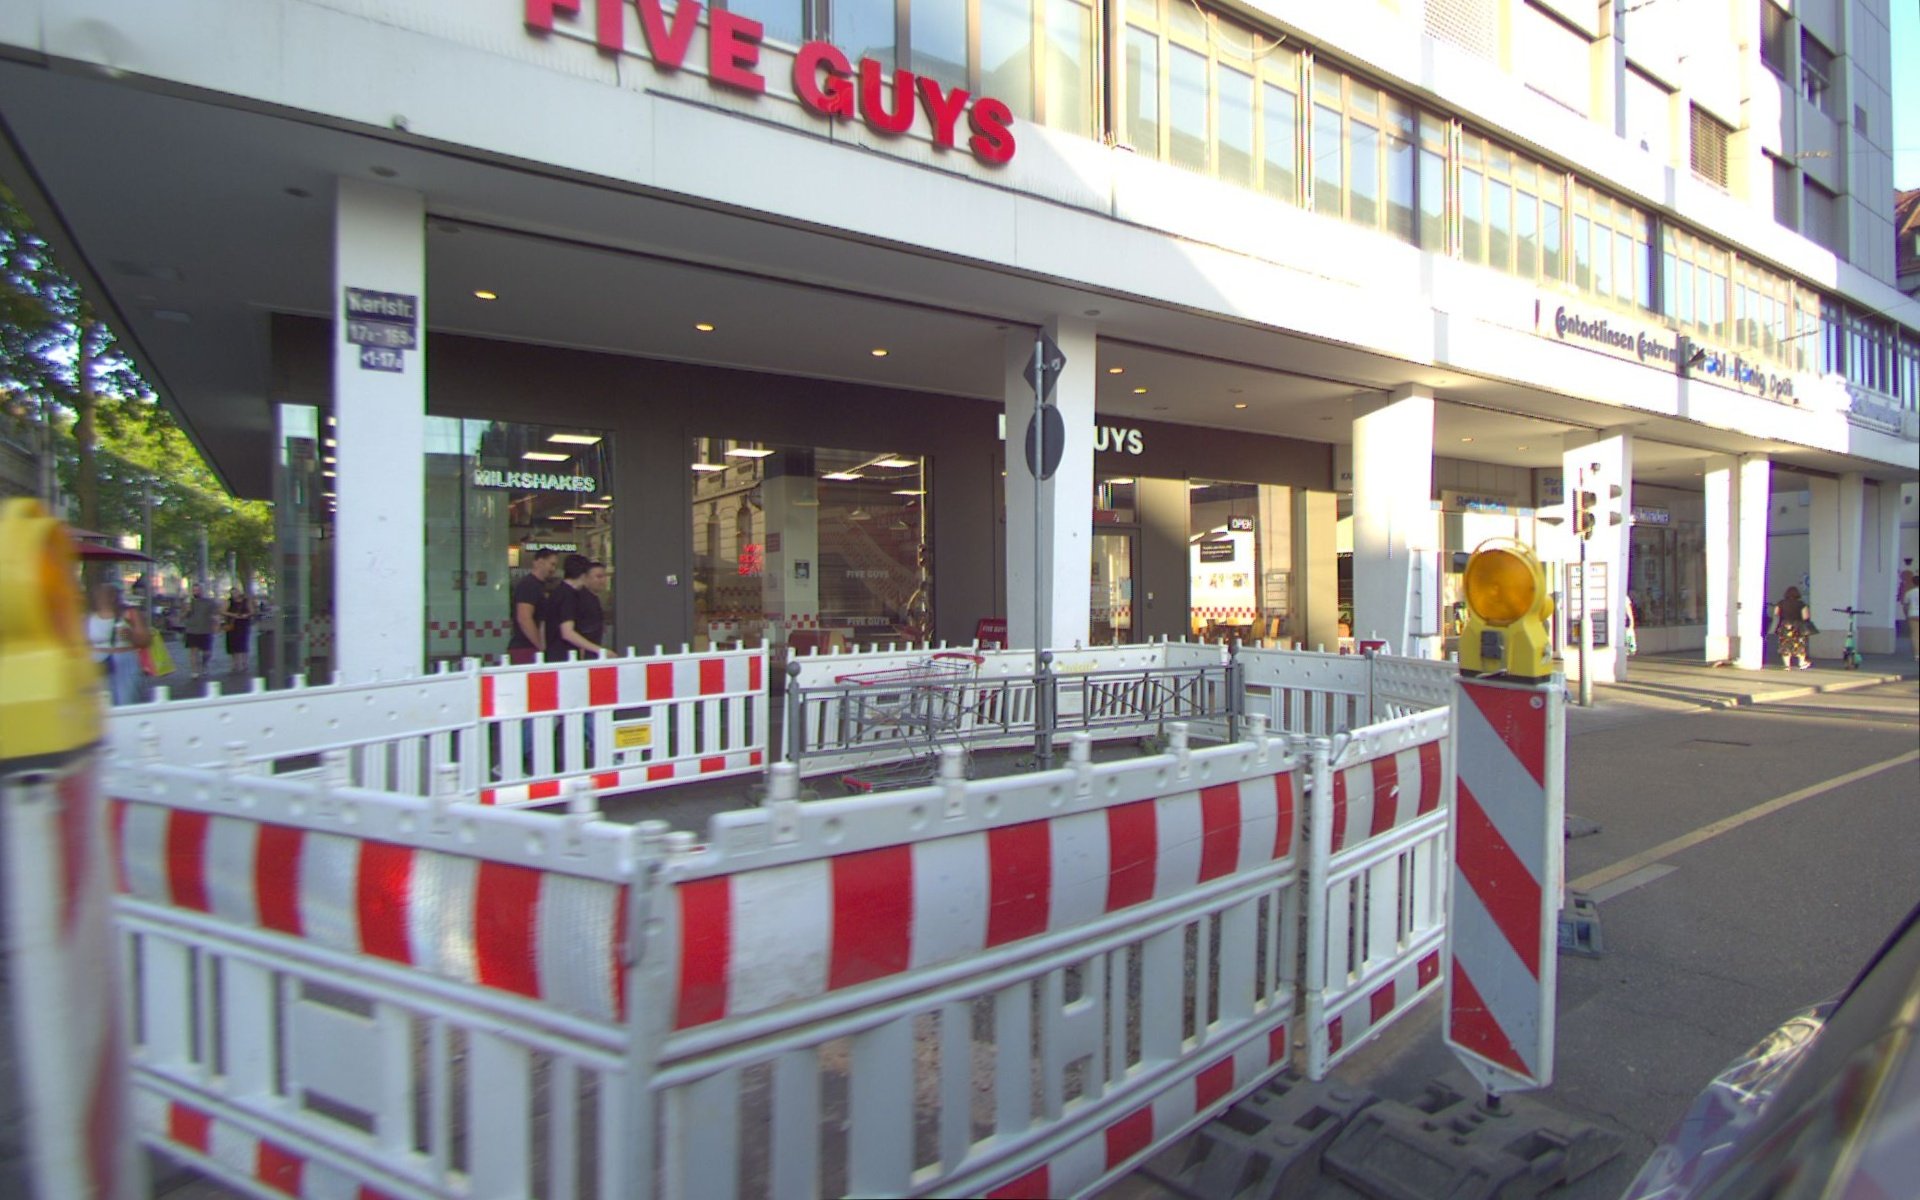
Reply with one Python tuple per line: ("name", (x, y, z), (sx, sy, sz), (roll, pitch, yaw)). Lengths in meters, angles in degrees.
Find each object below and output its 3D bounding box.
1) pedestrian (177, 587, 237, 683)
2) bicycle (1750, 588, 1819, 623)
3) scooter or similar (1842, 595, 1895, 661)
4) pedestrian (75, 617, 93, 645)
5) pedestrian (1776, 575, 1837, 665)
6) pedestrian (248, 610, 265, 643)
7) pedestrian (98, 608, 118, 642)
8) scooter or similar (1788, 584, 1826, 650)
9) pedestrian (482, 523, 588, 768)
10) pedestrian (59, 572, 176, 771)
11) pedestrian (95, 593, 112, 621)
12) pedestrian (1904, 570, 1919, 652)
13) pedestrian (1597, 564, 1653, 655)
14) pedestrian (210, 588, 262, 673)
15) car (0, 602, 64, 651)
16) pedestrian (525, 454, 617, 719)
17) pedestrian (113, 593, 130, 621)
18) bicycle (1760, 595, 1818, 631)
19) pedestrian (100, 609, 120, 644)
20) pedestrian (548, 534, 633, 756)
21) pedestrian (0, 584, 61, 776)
("pedestrian", (-13.925, 0.628, 18.731), (0.825, 1.715, 0.841), (-1, -1, -33))
("bicycle", (29.669, 0.208, 36.433), (1.810, 1.196, 0.772), (-1, -1, -3))
("scooter or similar", (17.800, 0.536, 19.831), (1.157, 1.250, 0.507), (0, 0, -34))
("pedestrian", (-54.538, 1.921, 63.020), (0.745, 1.749, 0.664), (-1, -1, -34))
("pedestrian", (16.419, 0.387, 19.645), (0.692, 1.715, 0.538), (-2, -1, 18))
("pedestrian", (-34.963, 1.325, 50.294), (0.650, 1.631, 0.664), (-1, -1, -34))
("pedestrian", (-40.997, 1.200, 48.718), (0.650, 1.631, 0.664), (-1, -1, -34))
("scooter or similar", (19.755, 0.383, 23.591), (1.289, 1.507, 0.315), (0, 0, -34))
("pedestrian", (-3.703, 0.386, 8.853), (0.509, 2.039, 0.779), (-1, -1, 8))
("pedestrian", (-7.863, 0.630, 9.478), (0.758, 1.757, 0.790), (-1, -1, -34))
("pedestrian", (-53.719, 0.453, 63.495), (0.745, 1.749, 0.664), (-1, -1, -34))
("pedestrian", (21.828, 0.234, 22.661), (0.835, 1.839, 0.702), (0, -1, -27))
("pedestrian", (13.689, 0.189, 20.855), (0.618, 1.839, 0.702), (0, -1, -27))
("pedestrian", (-14.976, 0.615, 20.949), (0.825, 1.715, 0.841), (-1, -1, -33))
("car", (-41.592, 1.166, 45.033), (1.961, 2.039, 4.296), (-1, -1, -33))
("pedestrian", (-3.159, -0.102, 8.200), (0.463, 2.039, 0.706), (0, -1, -41))
("pedestrian", (-53.100, 0.433, 64.117), (0.745, 1.749, 0.664), (-1, -1, -34))
("bicycle", (25.142, 0.403, 30.692), (1.809, 1.042, 0.772), (2, -2, -30))
("pedestrian", (-40.437, 1.263, 48.174), (0.650, 1.631, 0.664), (-1, -1, -34))
("pedestrian", (-3.533, 0.421, 9.710), (0.463, 2.039, 0.706), (-1, -1, 8))
("pedestrian", (-8.572, 0.701, 9.038), (0.700, 1.651, 0.827), (-1, -1, -34))
